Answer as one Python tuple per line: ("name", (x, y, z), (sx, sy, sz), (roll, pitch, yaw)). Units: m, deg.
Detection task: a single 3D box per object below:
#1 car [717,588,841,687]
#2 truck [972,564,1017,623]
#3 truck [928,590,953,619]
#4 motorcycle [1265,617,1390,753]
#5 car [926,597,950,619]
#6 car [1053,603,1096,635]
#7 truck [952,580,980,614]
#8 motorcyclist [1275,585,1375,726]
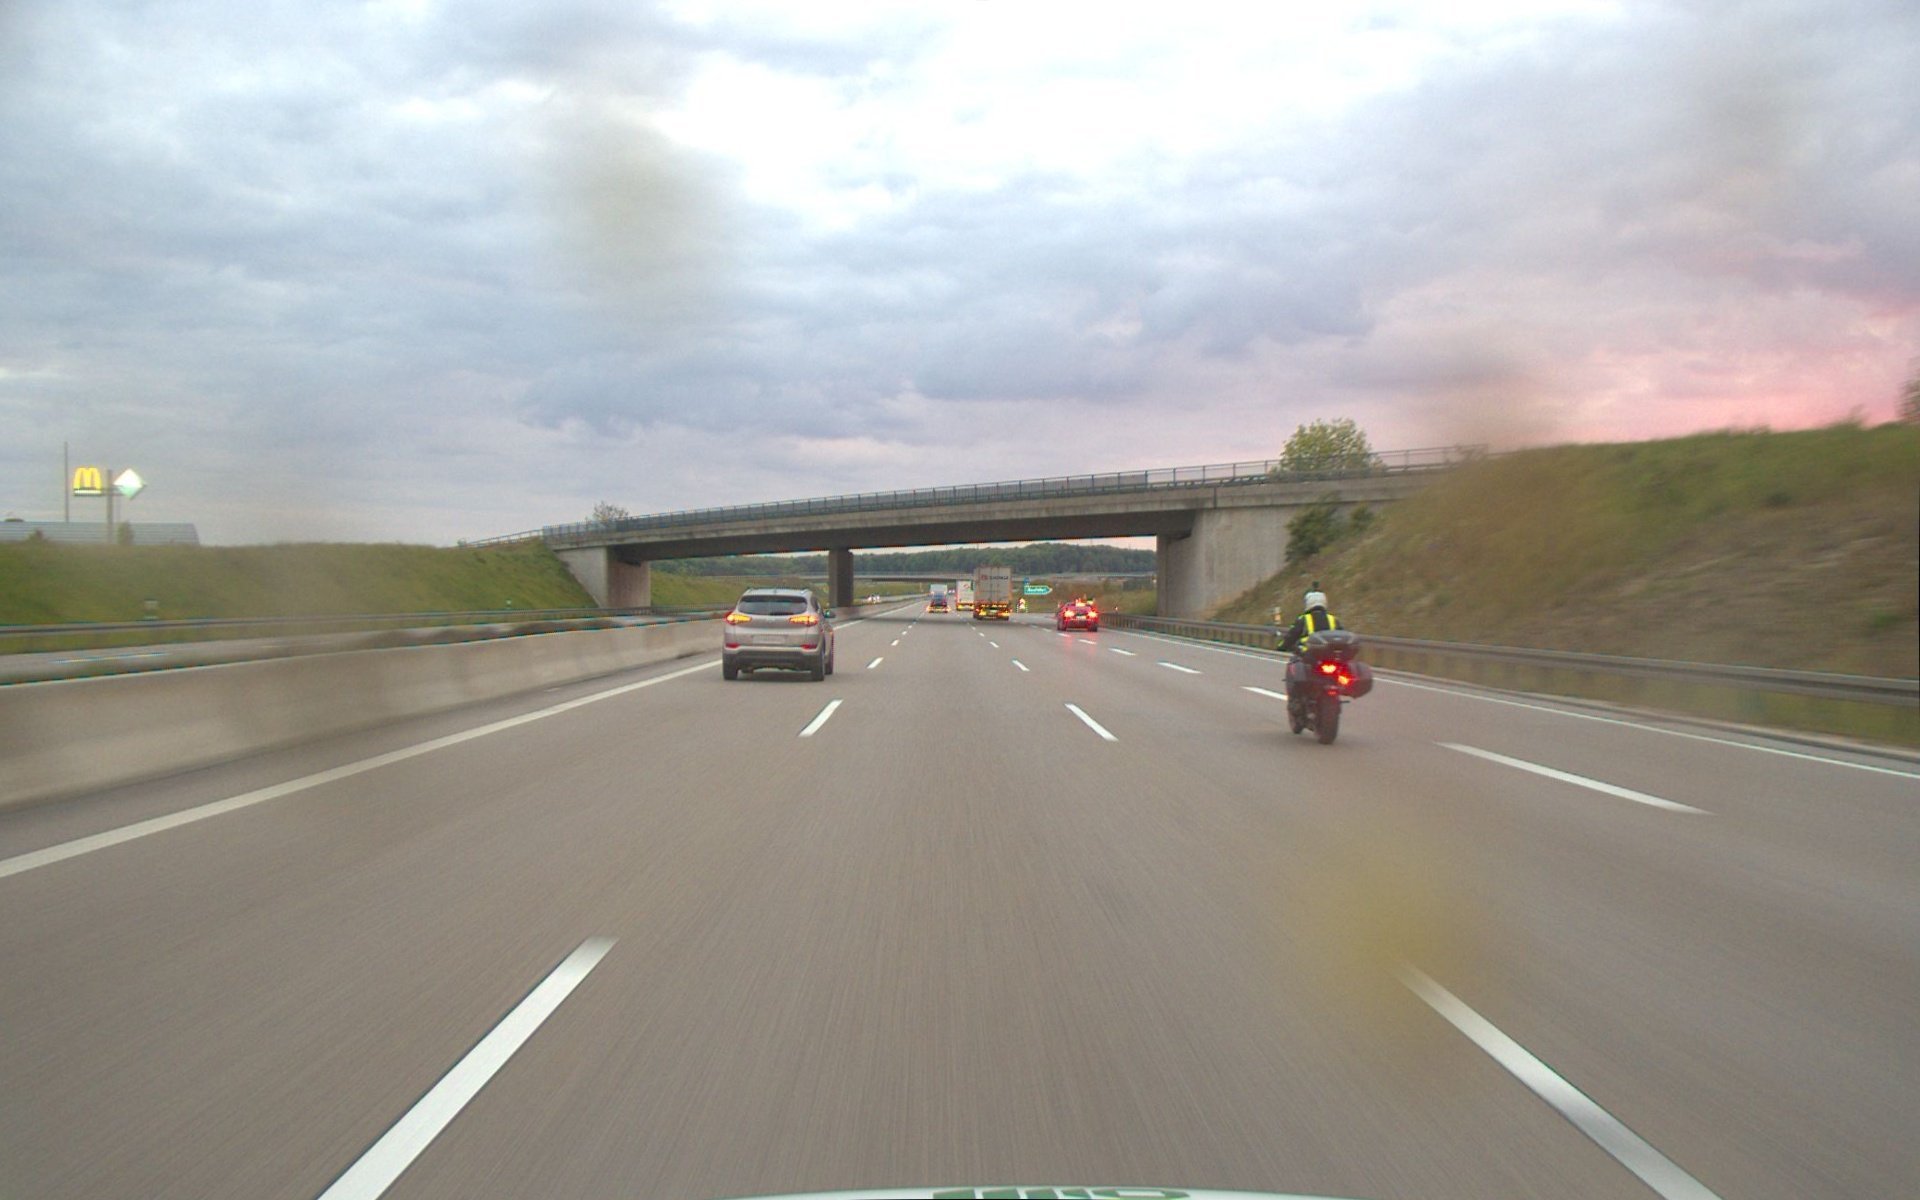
("car", (-3.367, 0.661, 31.695), (1.815, 1.722, 5.511), (0, 0, -1))
("truck", (2.623, -0.536, 128.009), (3.168, 4.301, 9.598), (1, 0, 0))
("truck", (-2.344, 0.478, 197.453), (2.892, 3.273, 8.403), (1, 0, -1))
("motorcycle", (4.114, 0.915, 18.729), (0.883, 1.370, 2.348), (0, 1, 0))
("car", (-2.434, 0.848, 181.446), (2.465, 2.433, 6.494), (0, 0, -2))
("car", (5.907, 0.962, 85.514), (1.879, 1.607, 3.999), (0, 0, -1))
("truck", (0.714, -0.449, 222.223), (3.454, 4.421, 8.403), (1, 0, -1))
("motorcyclist", (4.103, 0.600, 18.663), (0.848, 1.513, 1.168), (1, 0, 1))
